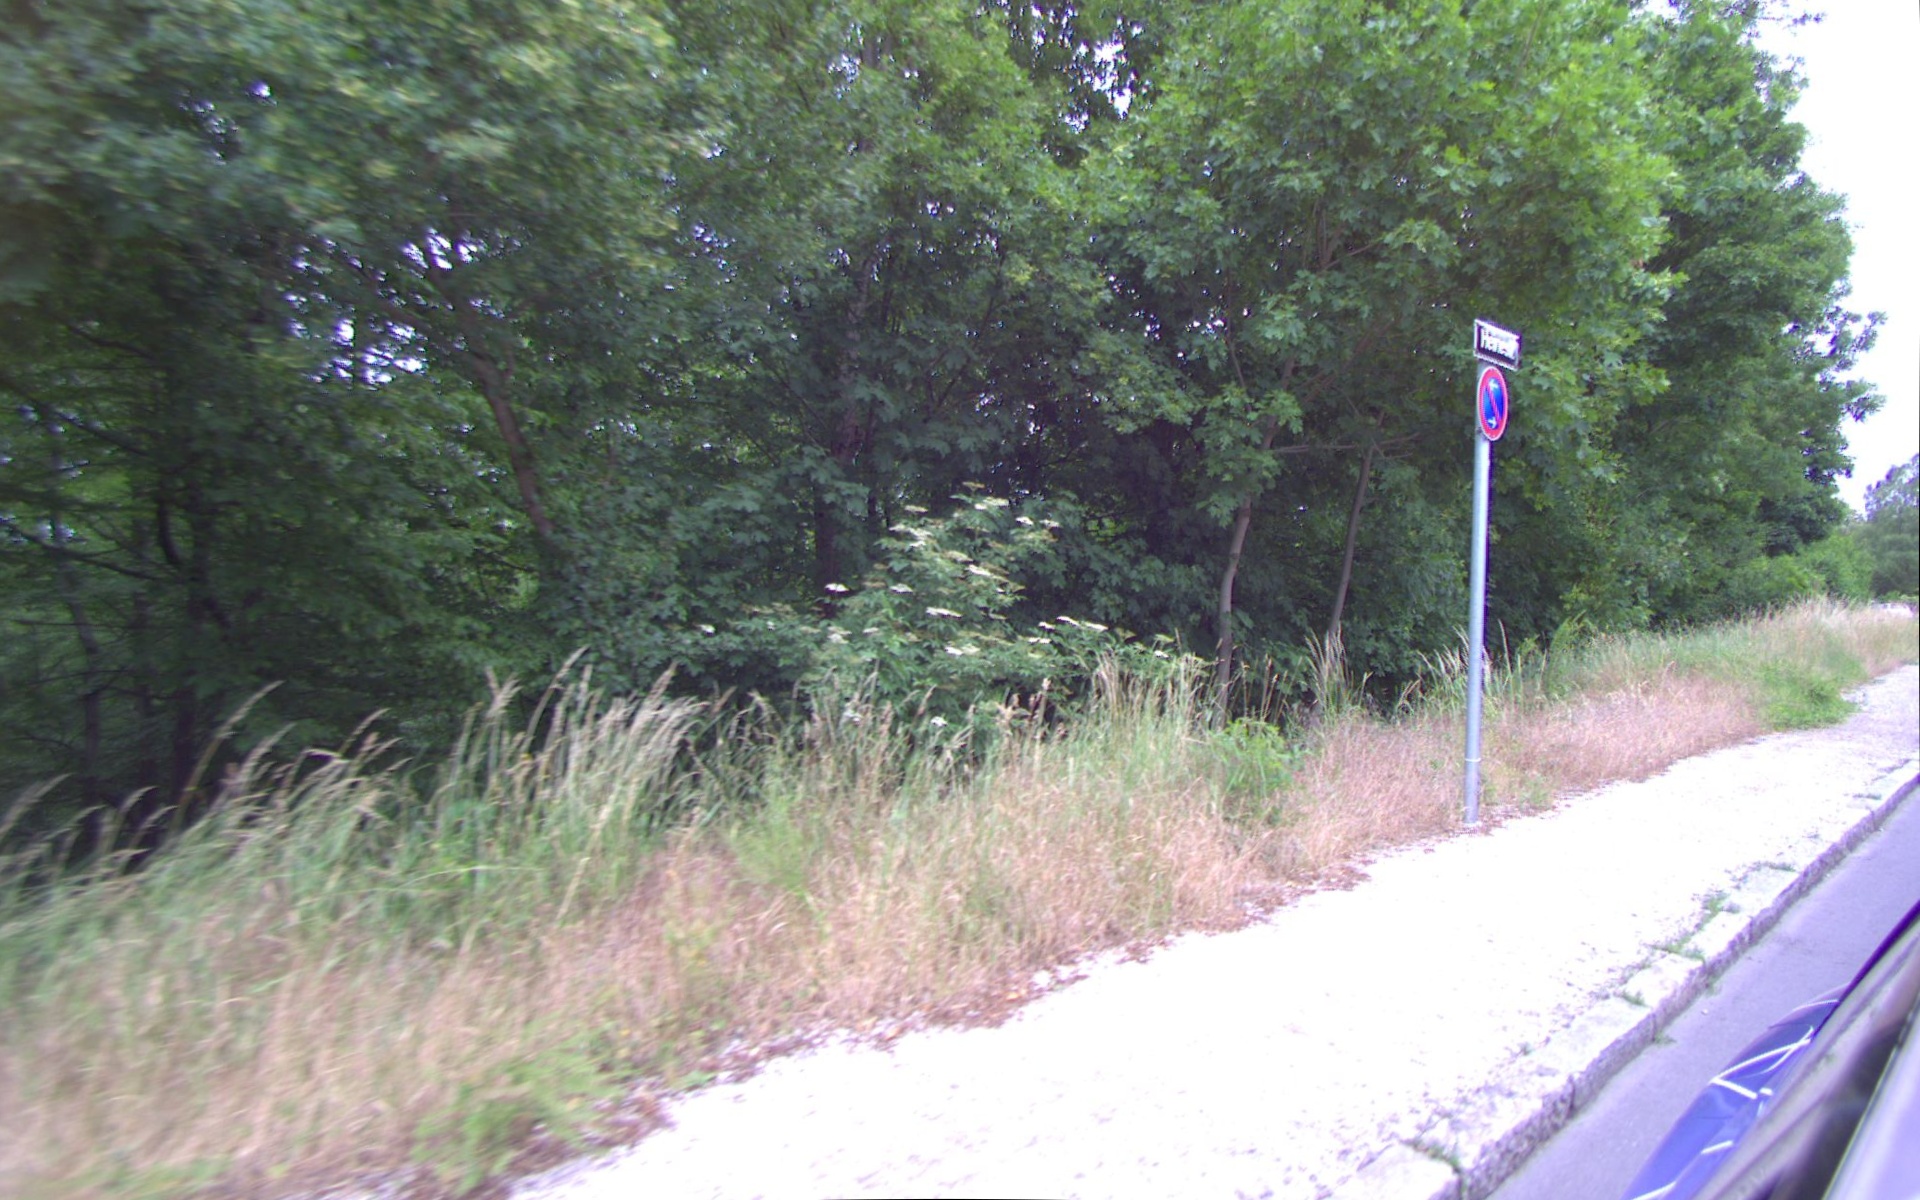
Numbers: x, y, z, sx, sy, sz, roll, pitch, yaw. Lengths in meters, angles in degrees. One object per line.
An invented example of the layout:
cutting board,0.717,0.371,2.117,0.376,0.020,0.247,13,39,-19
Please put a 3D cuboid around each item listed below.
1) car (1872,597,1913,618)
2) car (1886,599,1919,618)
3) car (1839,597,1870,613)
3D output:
car,77.546,0.587,84.223,1.784,1.685,4.340,0,0,33
car,75.132,0.658,80.362,1.700,1.530,3.900,0,0,33
car,85.973,0.437,97.330,1.701,1.530,4.497,0,0,35
